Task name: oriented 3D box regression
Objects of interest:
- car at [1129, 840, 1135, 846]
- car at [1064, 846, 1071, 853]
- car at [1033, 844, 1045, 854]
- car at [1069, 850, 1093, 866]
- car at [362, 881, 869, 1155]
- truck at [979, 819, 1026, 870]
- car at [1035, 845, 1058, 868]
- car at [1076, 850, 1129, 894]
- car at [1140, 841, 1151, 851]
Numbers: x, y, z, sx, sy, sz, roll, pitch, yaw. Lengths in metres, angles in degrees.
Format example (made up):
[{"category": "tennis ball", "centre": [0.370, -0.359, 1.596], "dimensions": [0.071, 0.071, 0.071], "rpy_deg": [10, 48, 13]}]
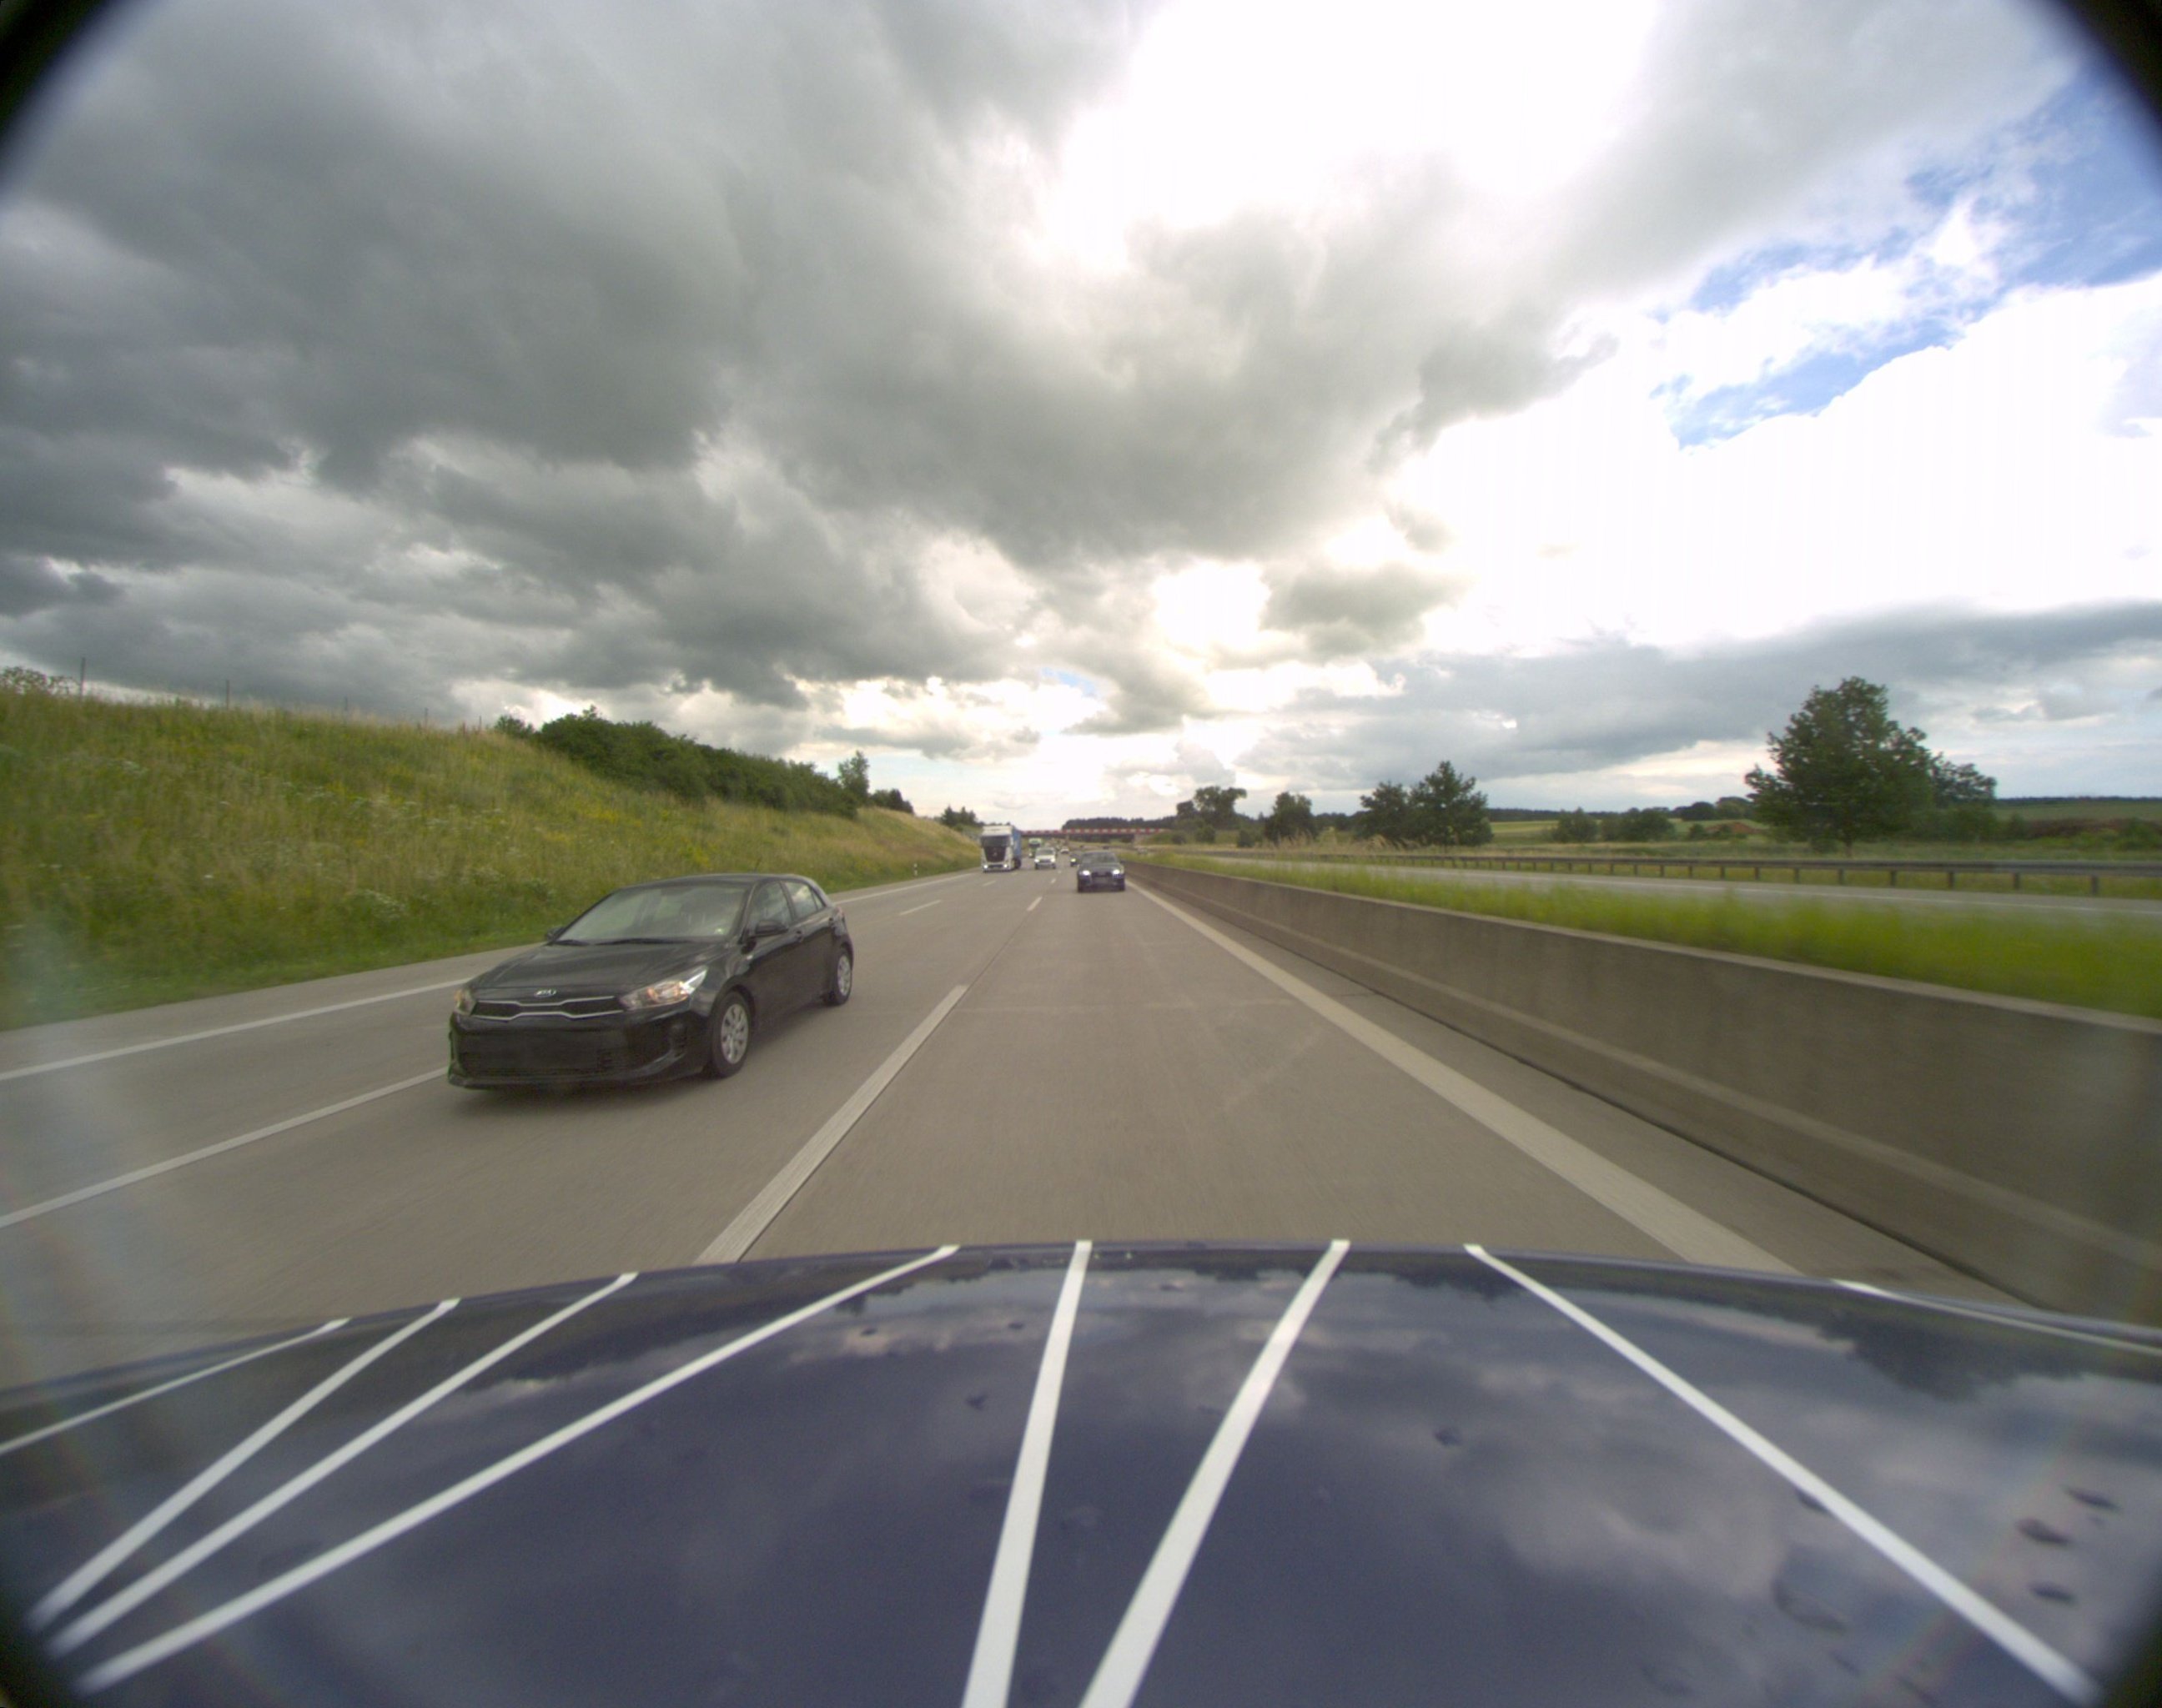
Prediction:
[{"category": "car", "centre": [17.582, -3.660, 261.675], "dimensions": [1.998, 2.002, 4.000], "rpy_deg": [-2, 1, 2]}, {"category": "car", "centre": [-3.676, -1.174, 206.196], "dimensions": [1.998, 2.002, 3.999], "rpy_deg": [-1, 1, 0]}, {"category": "car", "centre": [-8.967, -1.170, 162.259], "dimensions": [2.358, 2.002, 4.811], "rpy_deg": [-2, 1, -1]}, {"category": "car", "centre": [0.023, 0.399, 77.635], "dimensions": [1.939, 1.464, 4.002], "rpy_deg": [-2, 0, 6]}, {"category": "car", "centre": [-3.305, 1.046, 6.475], "dimensions": [1.690, 1.405, 4.000], "rpy_deg": [-2, 0, 2]}, {"category": "truck", "centre": [-7.060, -0.795, 69.681], "dimensions": [2.854, 4.176, 10.710], "rpy_deg": [-2, 0, 1]}, {"category": "car", "centre": [-3.234, 0.241, 71.249], "dimensions": [1.999, 2.002, 3.999], "rpy_deg": [-2, 0, -2]}, {"category": "car", "centre": [0.957, 0.658, 30.669], "dimensions": [1.796, 1.586, 5.159], "rpy_deg": [-2, 0, 5]}, {"category": "car", "centre": [13.924, -1.807, 164.362], "dimensions": [1.998, 2.002, 3.999], "rpy_deg": [-2, 1, 0]}]
